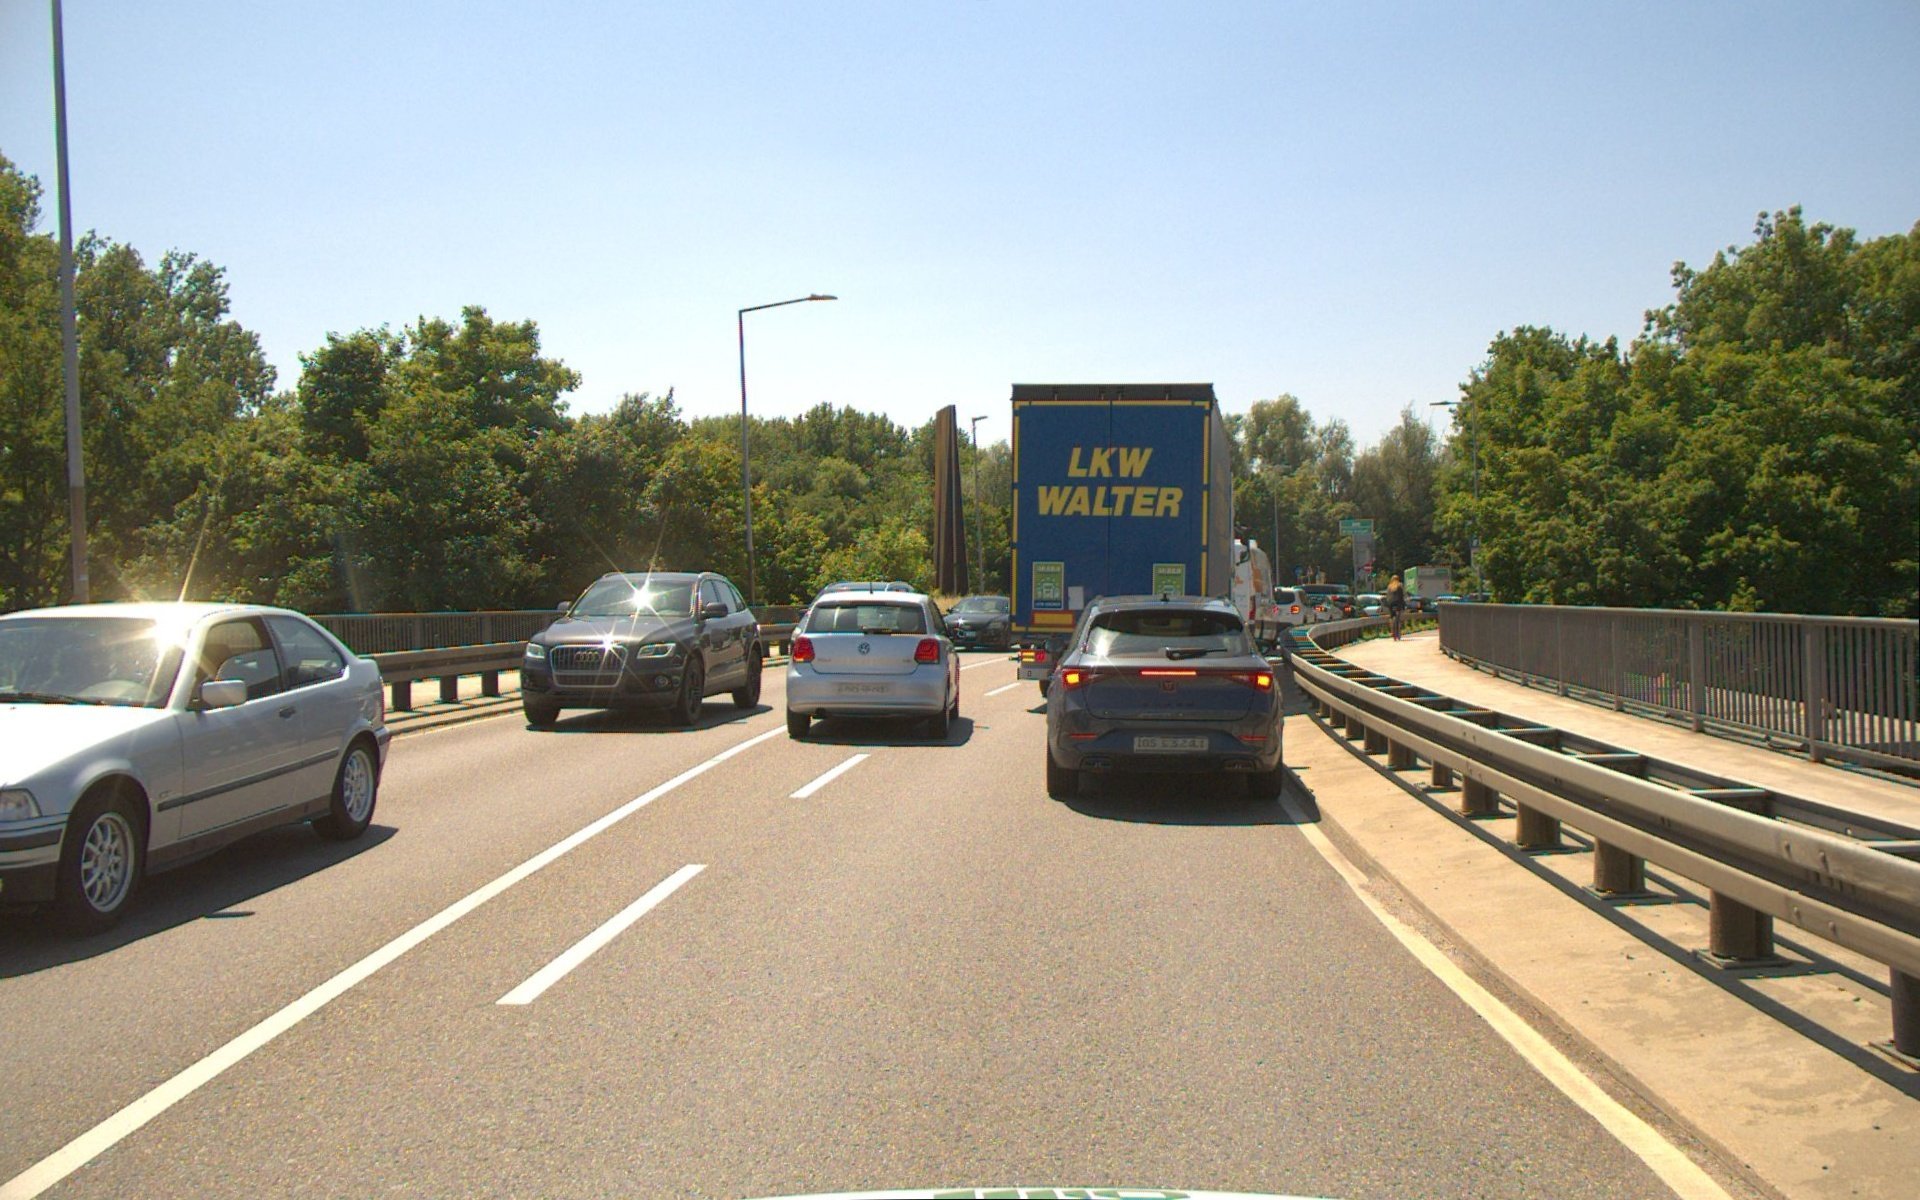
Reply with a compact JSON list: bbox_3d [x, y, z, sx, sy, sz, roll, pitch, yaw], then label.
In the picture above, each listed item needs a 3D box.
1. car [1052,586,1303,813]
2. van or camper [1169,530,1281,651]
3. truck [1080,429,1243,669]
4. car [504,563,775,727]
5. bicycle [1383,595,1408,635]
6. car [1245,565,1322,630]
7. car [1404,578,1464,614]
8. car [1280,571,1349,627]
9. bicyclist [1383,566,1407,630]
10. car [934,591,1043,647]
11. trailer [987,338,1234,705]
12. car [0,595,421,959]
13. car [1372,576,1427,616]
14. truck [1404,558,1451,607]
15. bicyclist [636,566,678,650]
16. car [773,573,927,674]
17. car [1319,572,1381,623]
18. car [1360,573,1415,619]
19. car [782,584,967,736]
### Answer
[{"bbox_3d":[1.552,0.638,12.883,1.642,1.481,3.960,0,0,3],"label":"car"},{"bbox_3d":[6.870,-0.260,42.328,2.108,2.864,6.392,0,1,16],"label":"van or camper"},{"bbox_3d":[4.347,-1.003,34.540,2.842,4.496,6.561,1,1,11],"label":"truck"},{"bbox_3d":[-3.541,0.439,19.109,1.762,1.669,4.304,0,0,8],"label":"car"},{"bbox_3d":[12.045,0.401,45.749,0.569,1.053,1.486,-3,0,13],"label":"bicycle"},{"bbox_3d":[9.788,-0.112,49.880,1.685,1.876,4.001,0,1,20],"label":"car"},{"bbox_3d":[23.705,-0.185,82.643,1.957,1.602,3.992,2,-1,30],"label":"car"},{"bbox_3d":[12.055,-0.061,56.086,1.685,1.834,4.000,0,1,21],"label":"car"},{"bbox_3d":[12.019,-0.060,45.701,0.565,1.712,0.730,-2,0,13],"label":"bicyclist"},{"bbox_3d":[0.768,0.434,41.615,1.643,1.331,3.975,0,0,18],"label":"car"},{"bbox_3d":[2.861,-1.041,26.635,2.842,4.495,12.444,1,1,10],"label":"trailer"},{"bbox_3d":[-4.322,0.684,8.408,1.661,1.400,4.002,0,0,3],"label":"car"},{"bbox_3d":[20.332,-0.168,76.405,1.653,1.791,3.995,0,0,27],"label":"car"},{"bbox_3d":[28.891,-1.068,102.397,2.284,2.924,5.946,0,1,11],"label":"truck"},{"bbox_3d":[-5.729,0.146,31.300,0.571,1.548,0.897,0,0,6],"label":"bicyclist"},{"bbox_3d":[-1.870,0.369,29.430,1.670,1.654,4.256,1,1,11],"label":"car"},{"bbox_3d":[15.014,-0.128,63.577,1.686,1.876,3.999,0,1,22],"label":"car"},{"bbox_3d":[18.018,-0.200,69.587,1.686,1.876,3.999,0,1,22],"label":"car"},{"bbox_3d":[-0.818,0.558,17.945,1.642,1.435,3.976,1,1,2],"label":"car"}]
